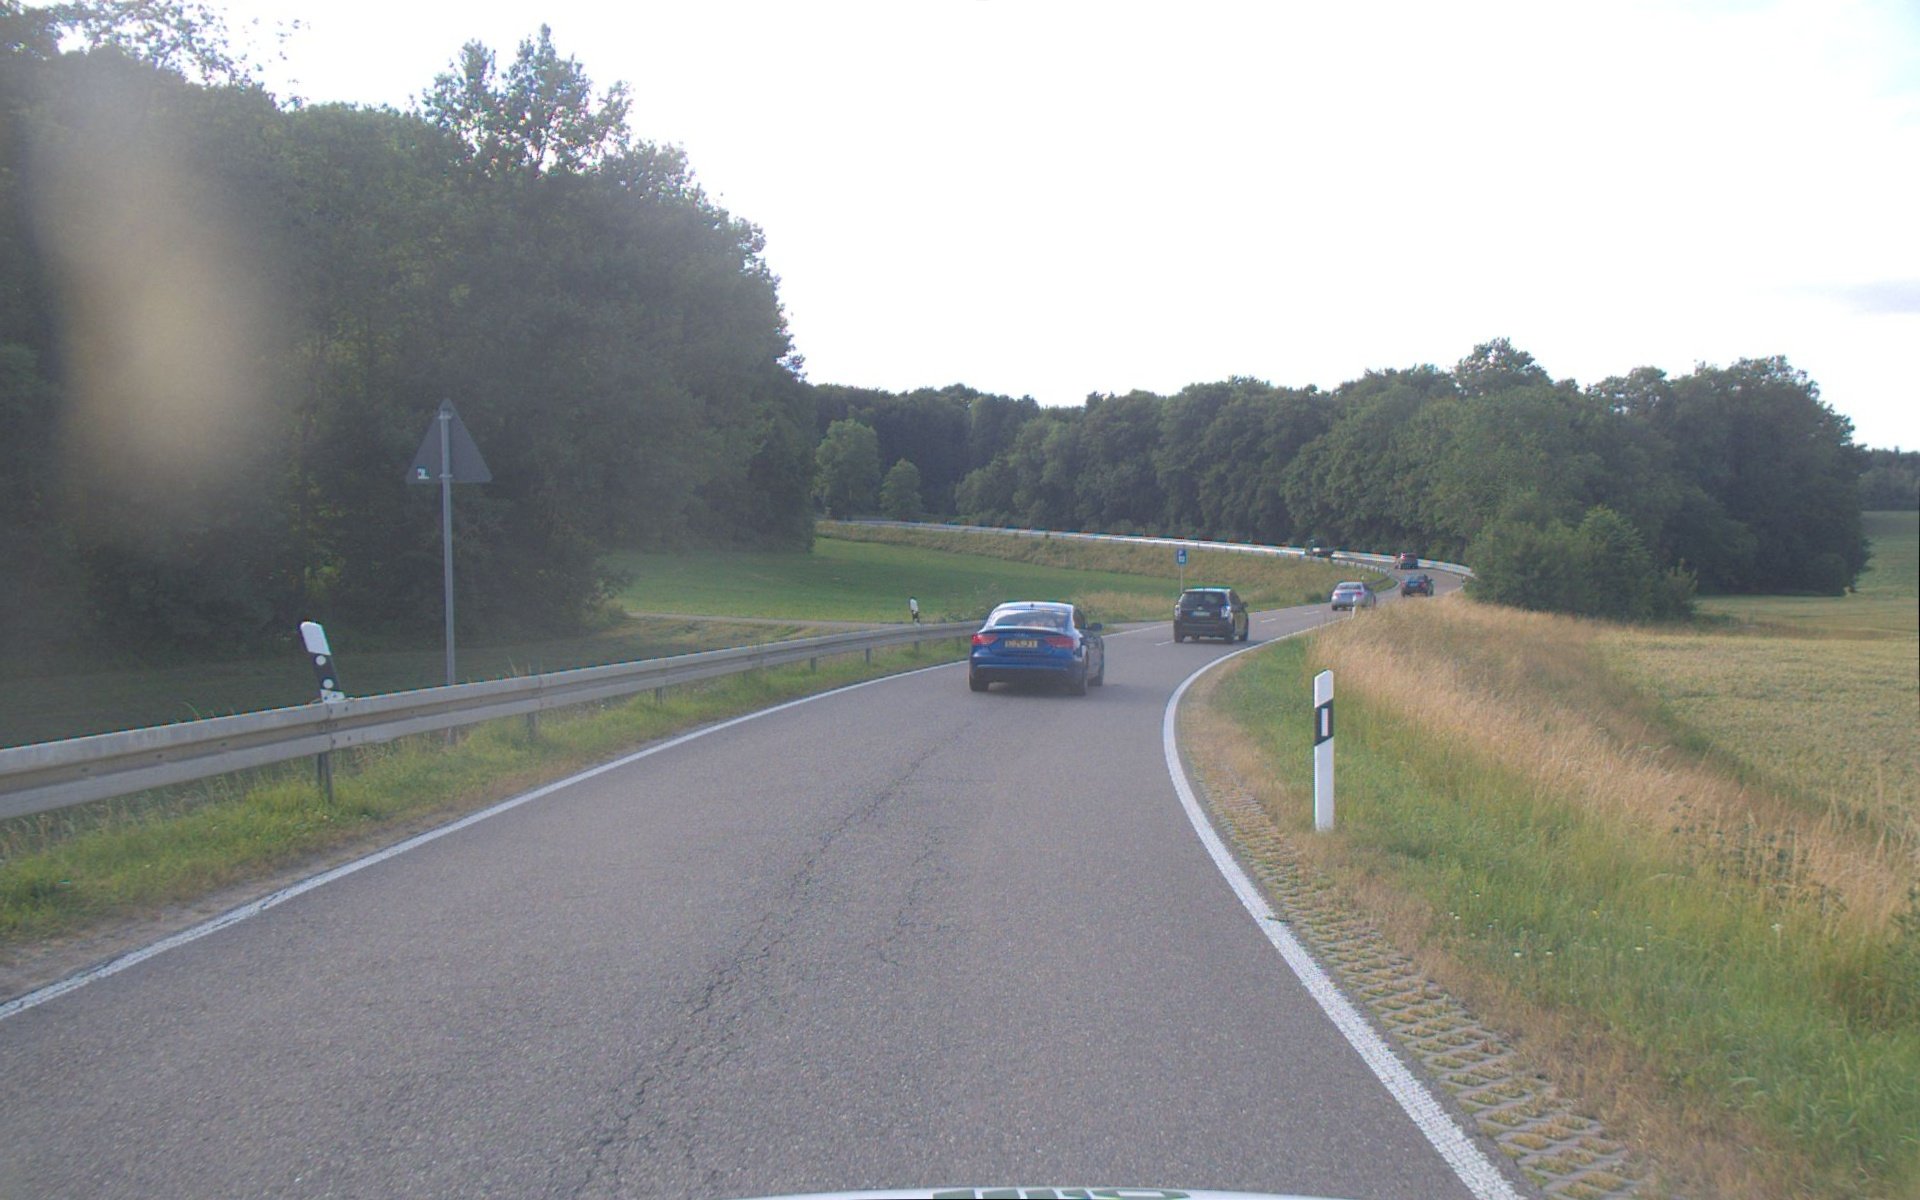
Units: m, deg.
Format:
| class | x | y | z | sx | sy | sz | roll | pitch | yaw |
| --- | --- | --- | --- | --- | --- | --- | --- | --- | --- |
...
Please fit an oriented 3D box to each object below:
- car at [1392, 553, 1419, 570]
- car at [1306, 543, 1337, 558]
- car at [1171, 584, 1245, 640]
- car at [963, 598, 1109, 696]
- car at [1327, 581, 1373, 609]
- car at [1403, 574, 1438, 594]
| class | x | y | z | sx | sy | sz | roll | pitch | yaw |
| --- | --- | --- | --- | --- | --- | --- | --- | --- | --- |
| car | 47.160 | -4.052 | 175.018 | 1.952 | 1.708 | 4.181 | 1 | 2 | 4 |
| car | 45.236 | -6.246 | 207.027 | 1.962 | 1.802 | 3.981 | 0 | 2 | -17 |
| car | 7.525 | 0.347 | 49.907 | 1.822 | 1.596 | 4.003 | 1 | 0 | 14 |
| car | 1.304 | 0.681 | 26.364 | 1.780 | 1.362 | 4.354 | 2 | 1 | 10 |
| car | 20.298 | -0.261 | 85.977 | 1.648 | 1.400 | 3.999 | -1 | 0 | 23 |
| car | 30.595 | -1.080 | 109.812 | 1.444 | 1.248 | 3.293 | -2 | 0 | 30 |
